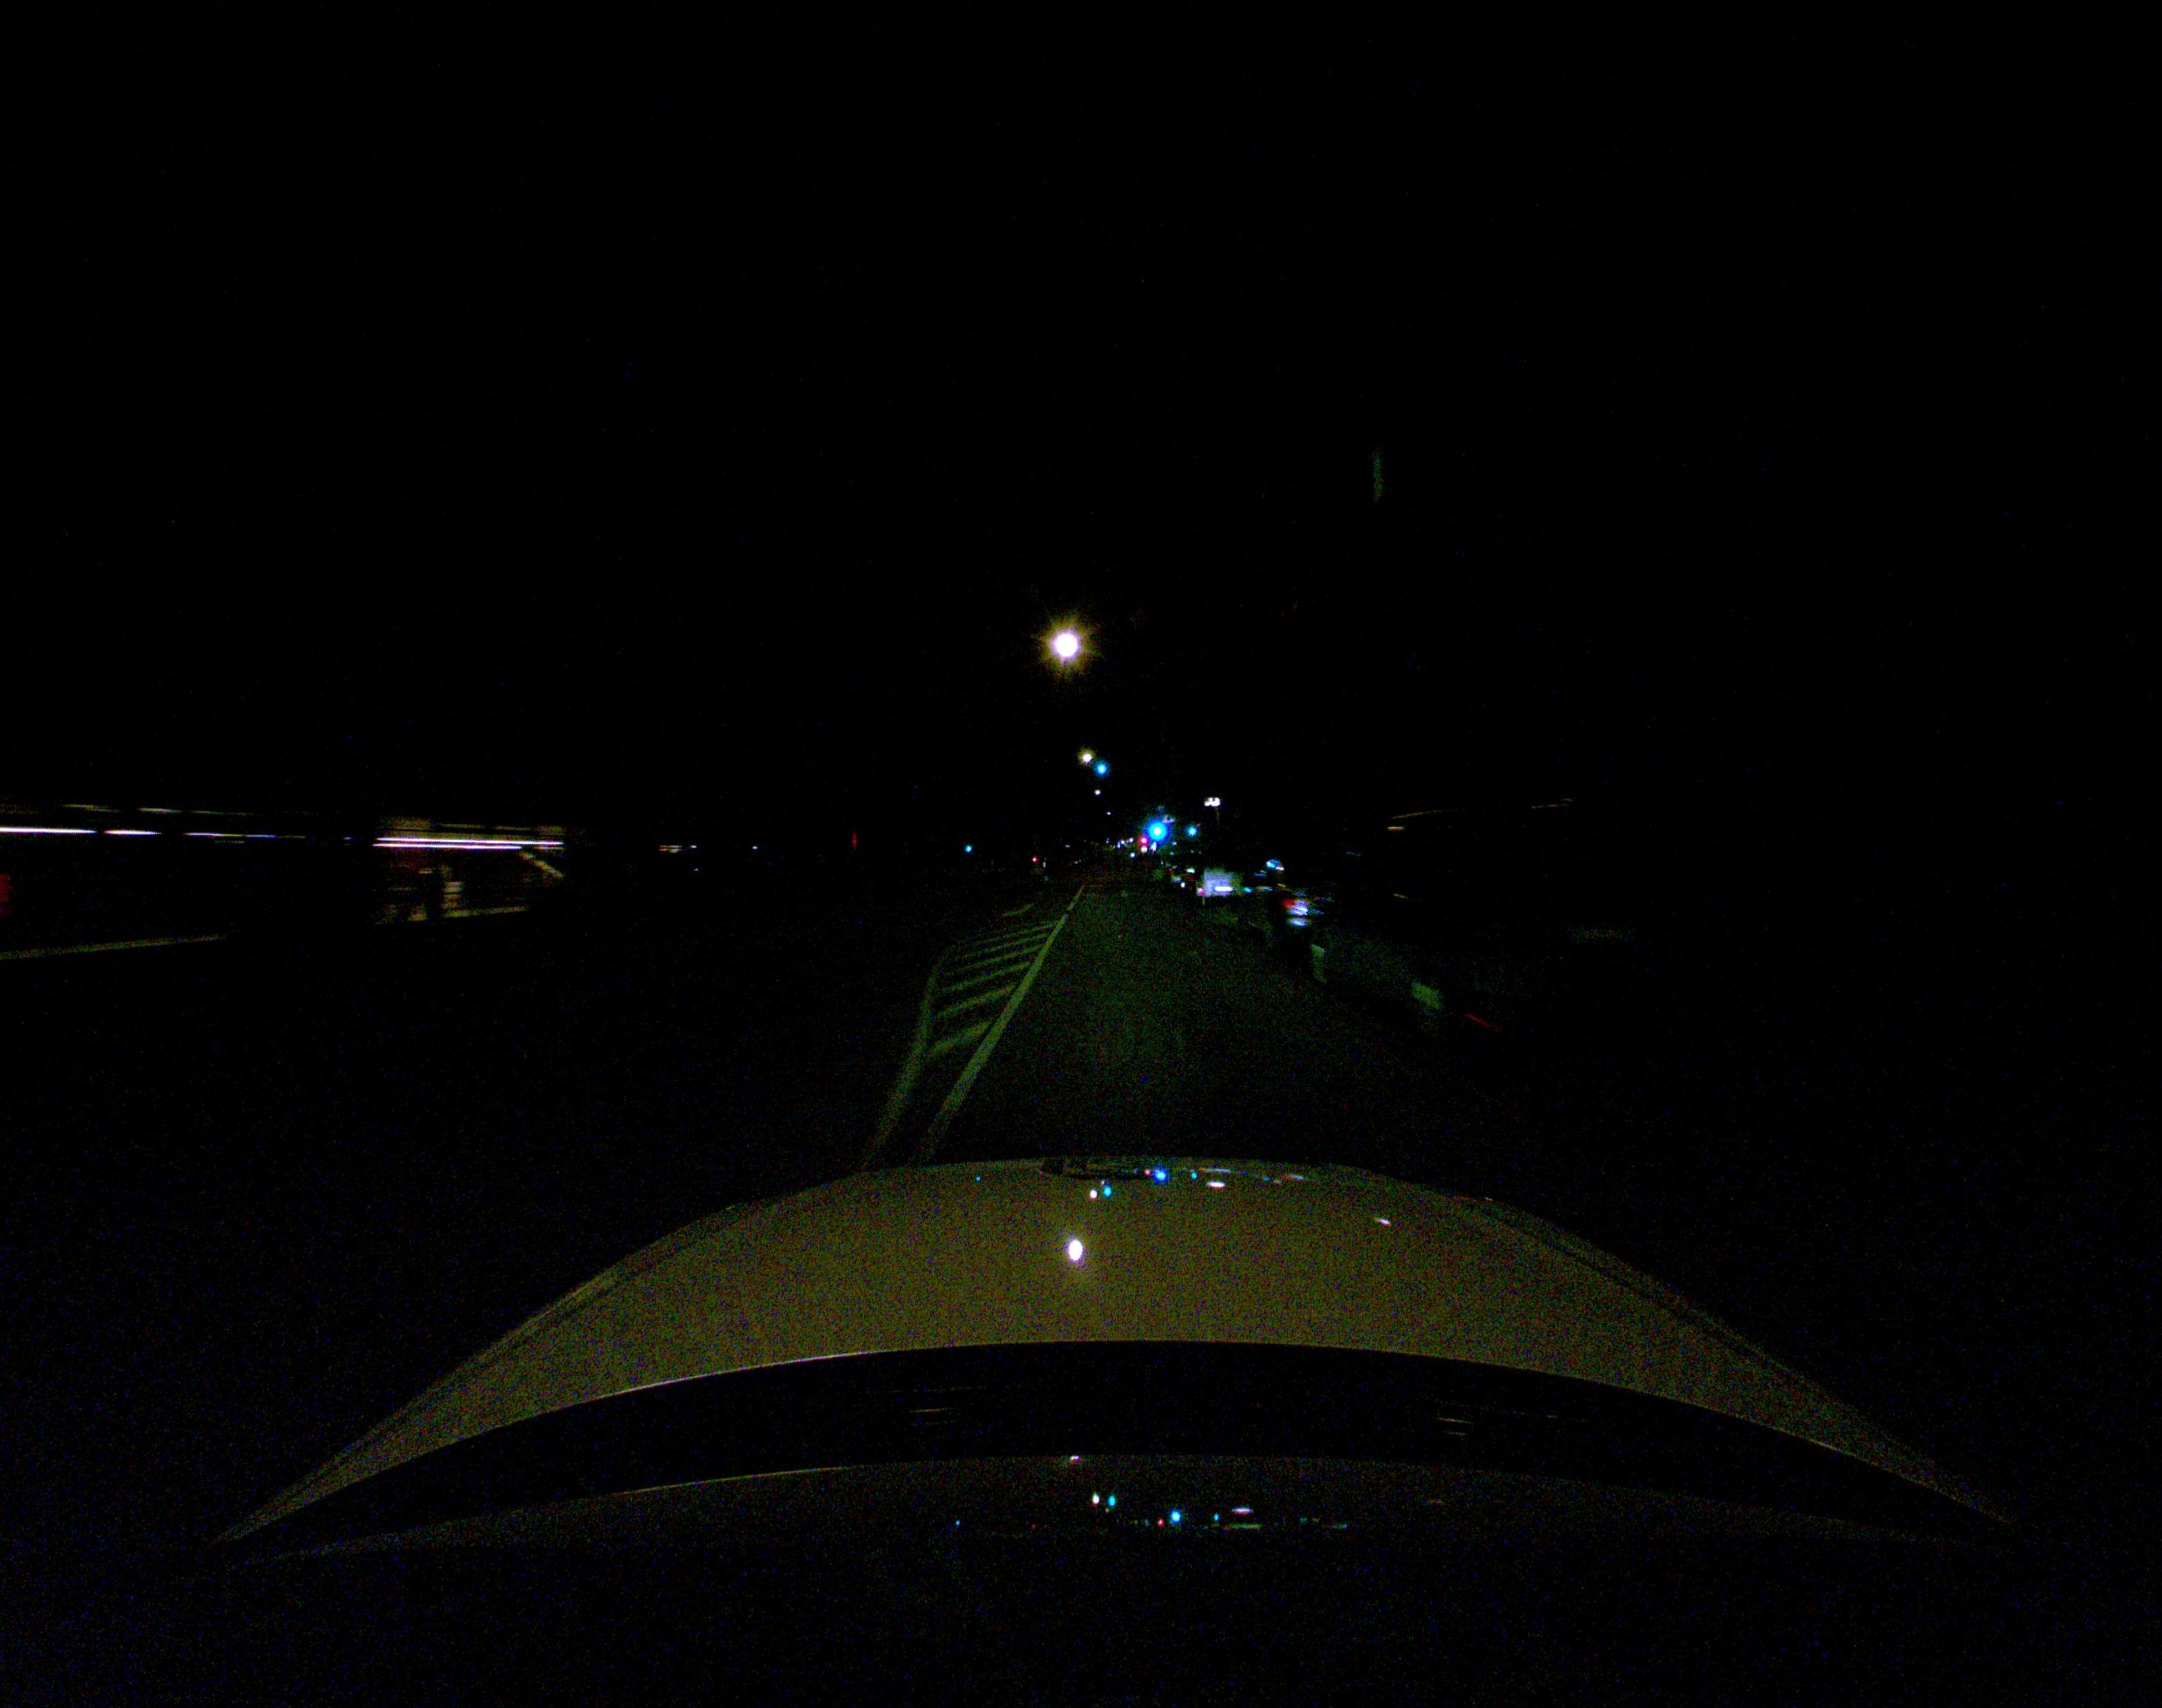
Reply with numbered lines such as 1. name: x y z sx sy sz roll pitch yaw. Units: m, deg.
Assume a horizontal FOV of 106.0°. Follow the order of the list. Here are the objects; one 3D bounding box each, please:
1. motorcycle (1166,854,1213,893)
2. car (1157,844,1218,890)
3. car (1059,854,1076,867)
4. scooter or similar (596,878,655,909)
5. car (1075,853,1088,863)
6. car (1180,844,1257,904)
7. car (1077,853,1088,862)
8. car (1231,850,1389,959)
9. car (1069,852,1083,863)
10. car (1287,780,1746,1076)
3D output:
1. motorcycle: 3.768 0.662 28.119 0.630 1.270 2.077 -2 0 36
2. car: 4.084 0.471 31.794 1.846 1.590 4.301 -2 0 1
3. car: -1.595 0.707 95.412 1.734 1.416 3.754 -2 0 2
4. scooter or similar: -15.162 1.305 27.099 1.667 1.008 0.545 0 0 3
5. car: 0.104 0.607 124.832 1.734 1.416 3.754 -2 0 2
6. car: 4.001 0.527 24.268 1.586 1.534 4.139 -4 0 1
7. car: 0.296 0.558 138.467 1.734 1.416 3.754 -2 0 2
8. car: 3.486 0.674 13.100 1.514 1.396 3.987 -3 0 3
9. car: -0.713 0.421 111.209 1.734 1.416 3.754 -2 0 2
10. car: 3.386 0.471 7.442 1.766 1.806 4.276 -4 0 -1
